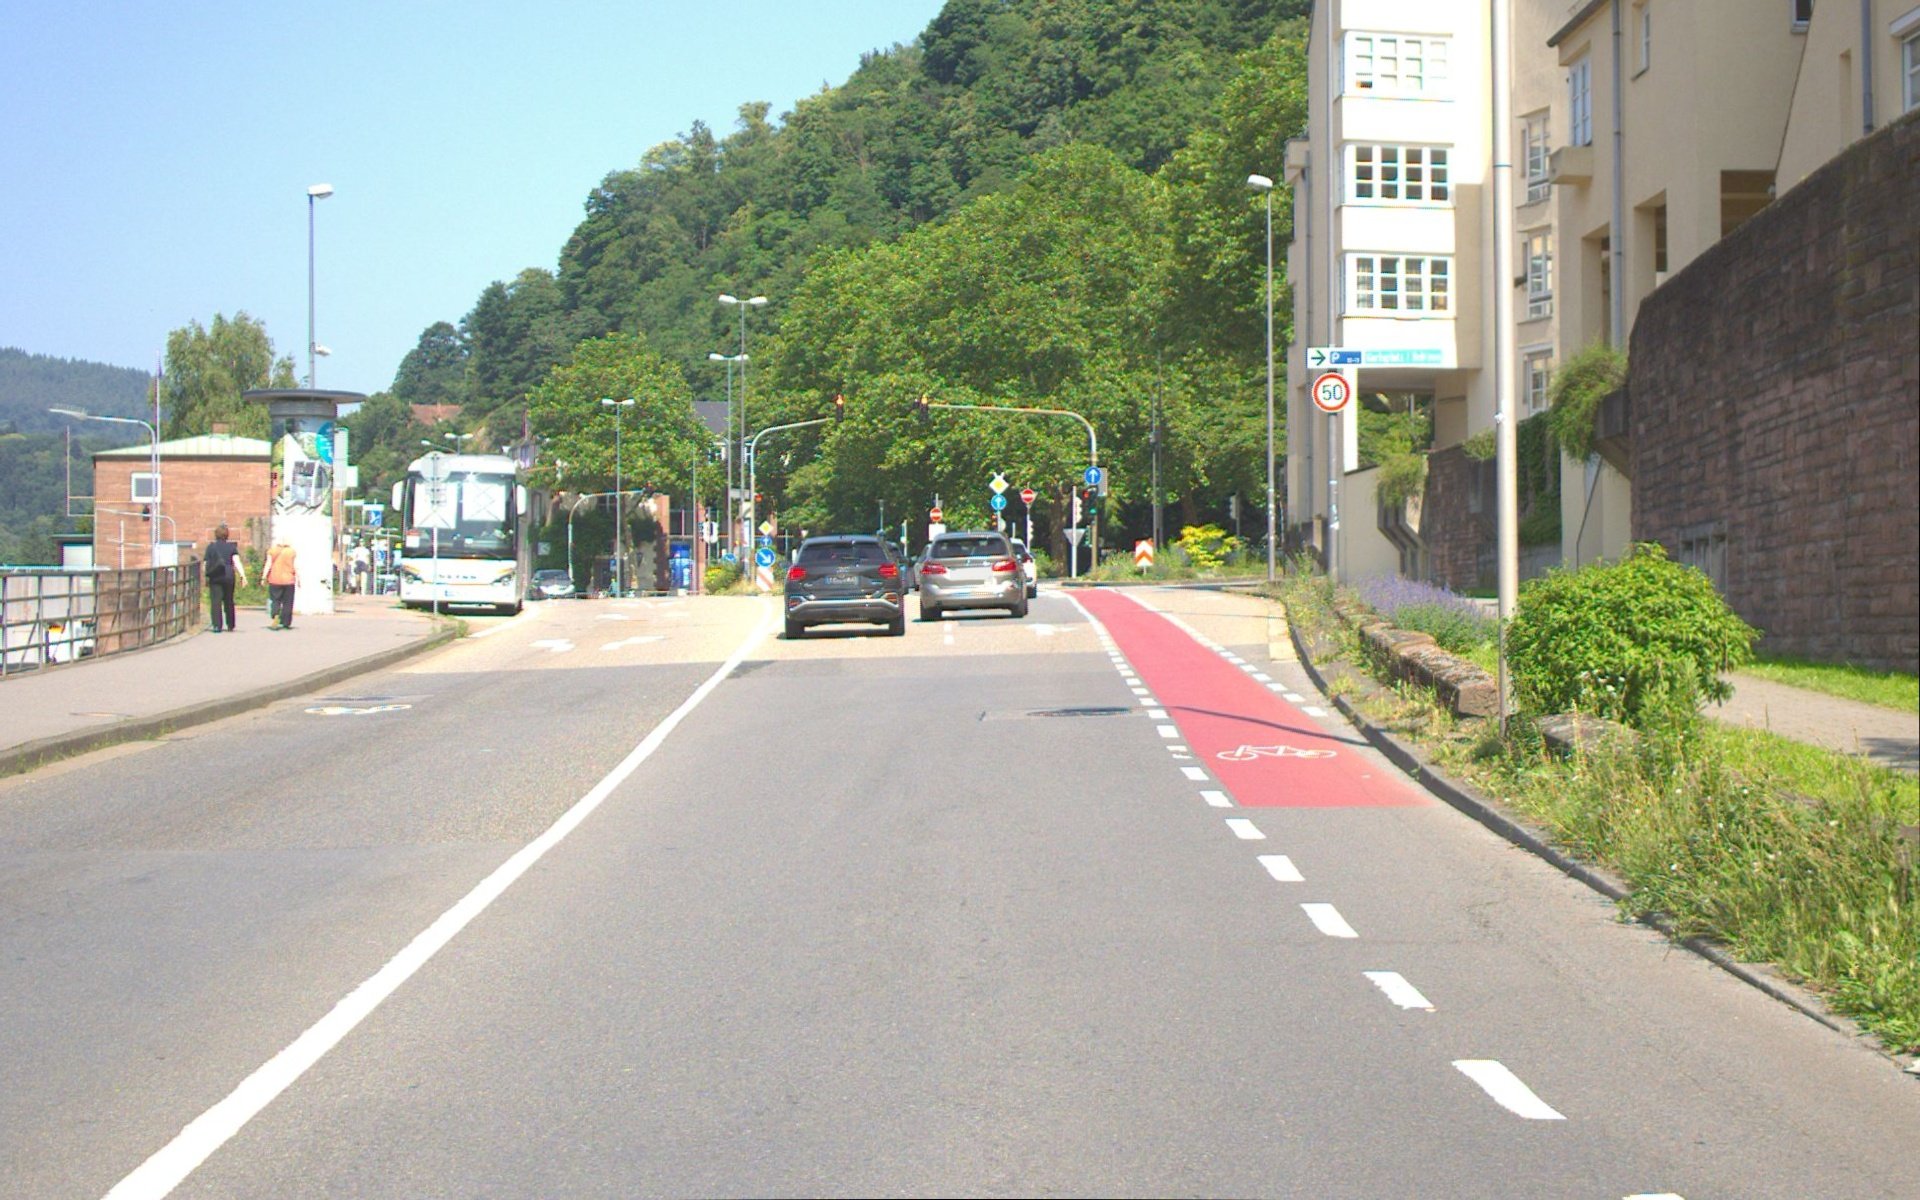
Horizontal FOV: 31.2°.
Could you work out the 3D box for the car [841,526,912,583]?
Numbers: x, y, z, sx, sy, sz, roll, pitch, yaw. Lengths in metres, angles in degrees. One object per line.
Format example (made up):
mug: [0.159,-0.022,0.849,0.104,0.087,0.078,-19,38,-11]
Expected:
car: [-2.406,-1.314,98.284,1.866,1.557,4.001,-1,1,-3]

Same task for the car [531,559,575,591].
car: [-19.559,-1.195,165.059,1.993,1.427,4.168,-2,1,-8]

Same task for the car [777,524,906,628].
car: [-1.755,-0.363,52.010,1.869,1.508,4.151,0,0,-1]

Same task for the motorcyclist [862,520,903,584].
motorcyclist: [-2.099,-1.297,93.041,1.075,1.678,1.156,-1,1,-2]

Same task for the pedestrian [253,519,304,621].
pedestrian: [-10.895,-0.475,54.971,0.702,1.615,0.817,-1,0,-5]

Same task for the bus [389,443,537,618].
bus: [-11.643,-1.568,81.575,2.956,3.788,13.246,-1,0,-6]

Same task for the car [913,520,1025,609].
car: [0.130,-0.626,60.811,1.888,1.516,4.306,0,0,-1]

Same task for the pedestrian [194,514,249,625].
pedestrian: [-11.424,-0.475,53.211,0.683,1.703,0.773,-1,0,-1]

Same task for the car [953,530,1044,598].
car: [0.876,-0.835,80.501,1.993,1.528,4.859,0,0,-1]
